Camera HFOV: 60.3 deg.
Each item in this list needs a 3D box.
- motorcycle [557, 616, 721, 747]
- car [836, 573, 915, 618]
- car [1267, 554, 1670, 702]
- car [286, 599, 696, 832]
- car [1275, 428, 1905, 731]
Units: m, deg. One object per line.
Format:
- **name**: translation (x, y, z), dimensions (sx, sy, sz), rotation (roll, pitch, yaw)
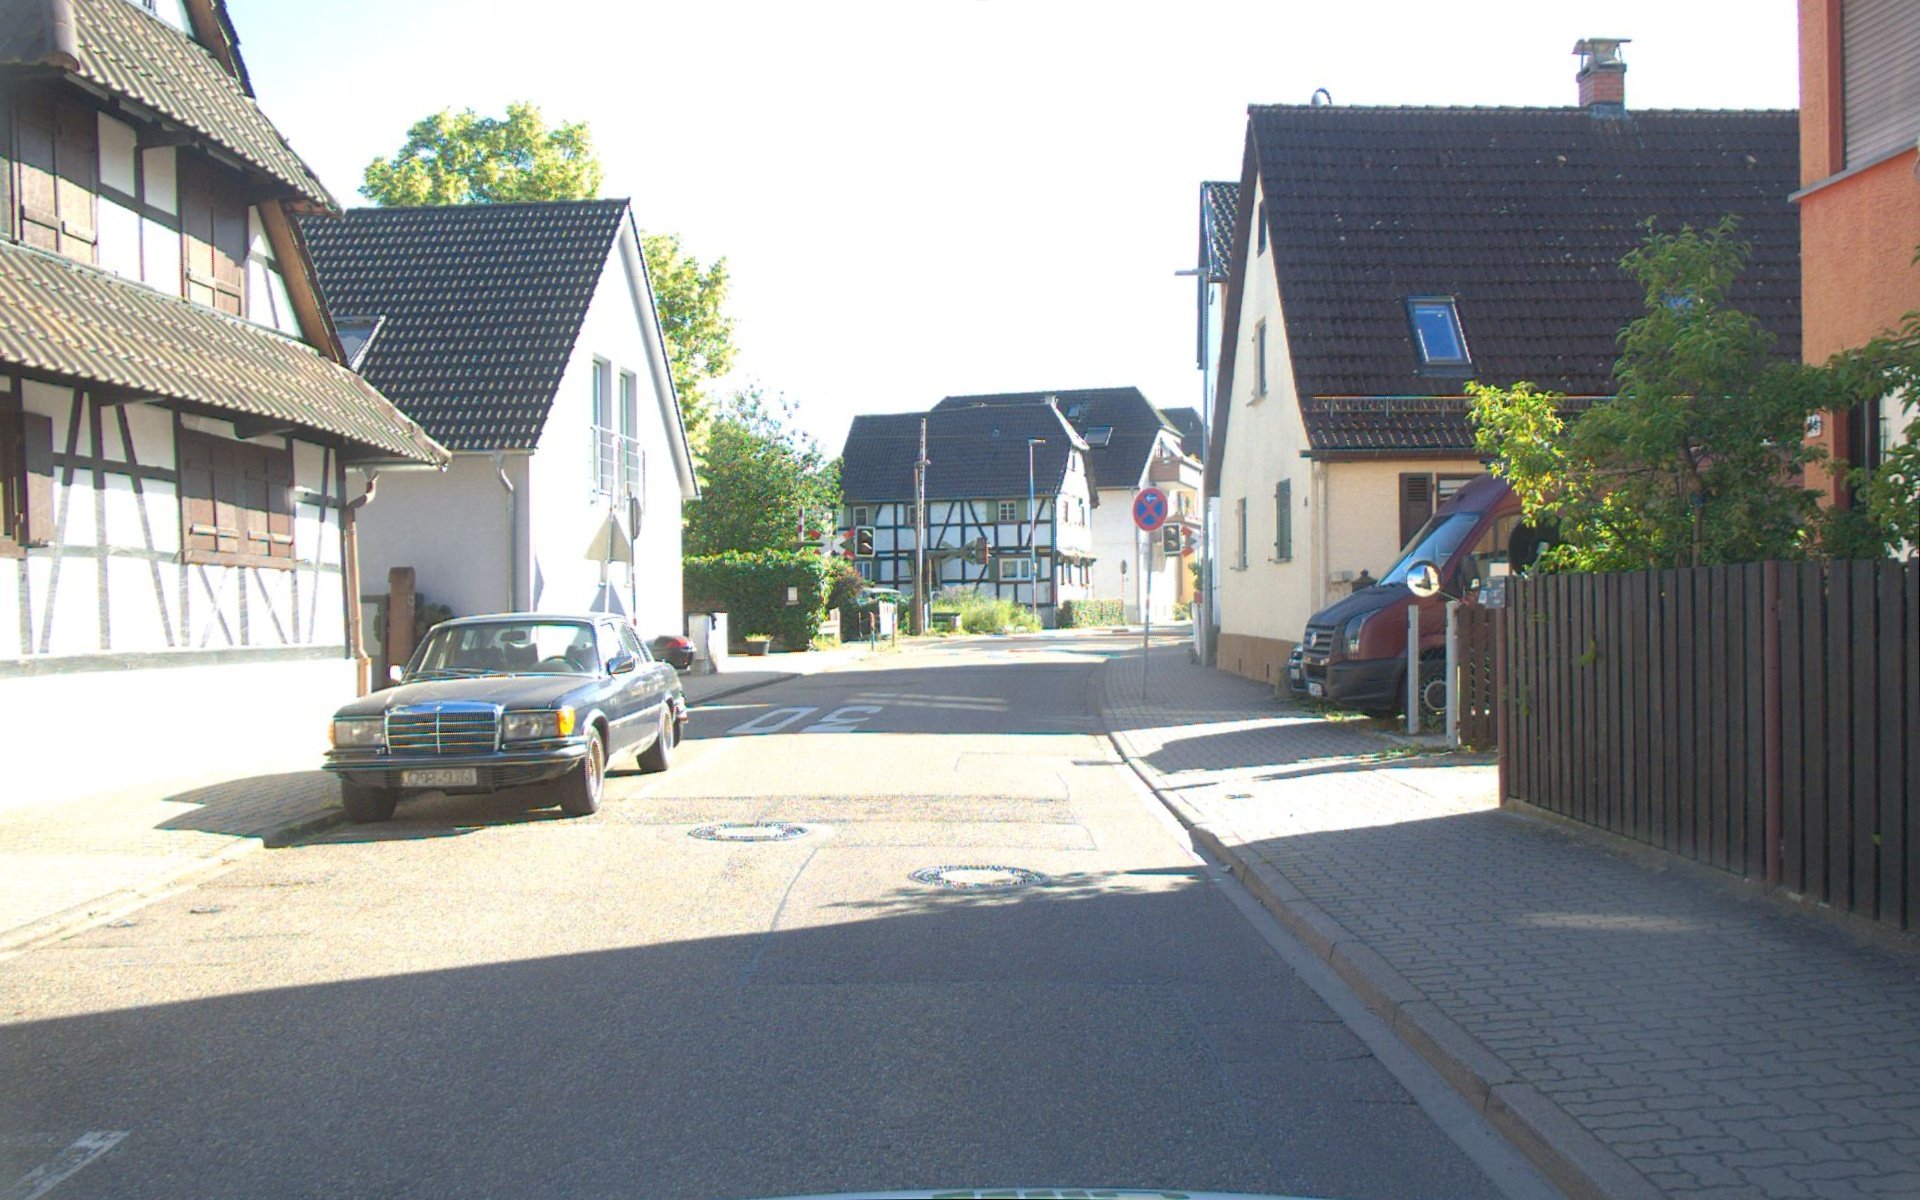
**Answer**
- **motorcycle**: translation (-3.307, 0.804, 16.918), dimensions (1.961, 1.253, 0.622), rotation (-1, 0, 44)
- **car**: translation (-3.218, -0.159, 62.131), dimensions (1.661, 1.592, 3.971), rotation (1, -1, -23)
- **car**: translation (6.092, 0.334, 20.161), dimensions (4.286, 1.513, 1.839), rotation (-3, -1, -2)
- **car**: translation (-3.416, 0.762, 13.156), dimensions (1.807, 1.431, 5.036), rotation (-2, 0, 0)
- **car**: translation (6.358, -0.205, 17.086), dimensions (5.690, 2.701, 1.966), rotation (-3, -1, -5)
